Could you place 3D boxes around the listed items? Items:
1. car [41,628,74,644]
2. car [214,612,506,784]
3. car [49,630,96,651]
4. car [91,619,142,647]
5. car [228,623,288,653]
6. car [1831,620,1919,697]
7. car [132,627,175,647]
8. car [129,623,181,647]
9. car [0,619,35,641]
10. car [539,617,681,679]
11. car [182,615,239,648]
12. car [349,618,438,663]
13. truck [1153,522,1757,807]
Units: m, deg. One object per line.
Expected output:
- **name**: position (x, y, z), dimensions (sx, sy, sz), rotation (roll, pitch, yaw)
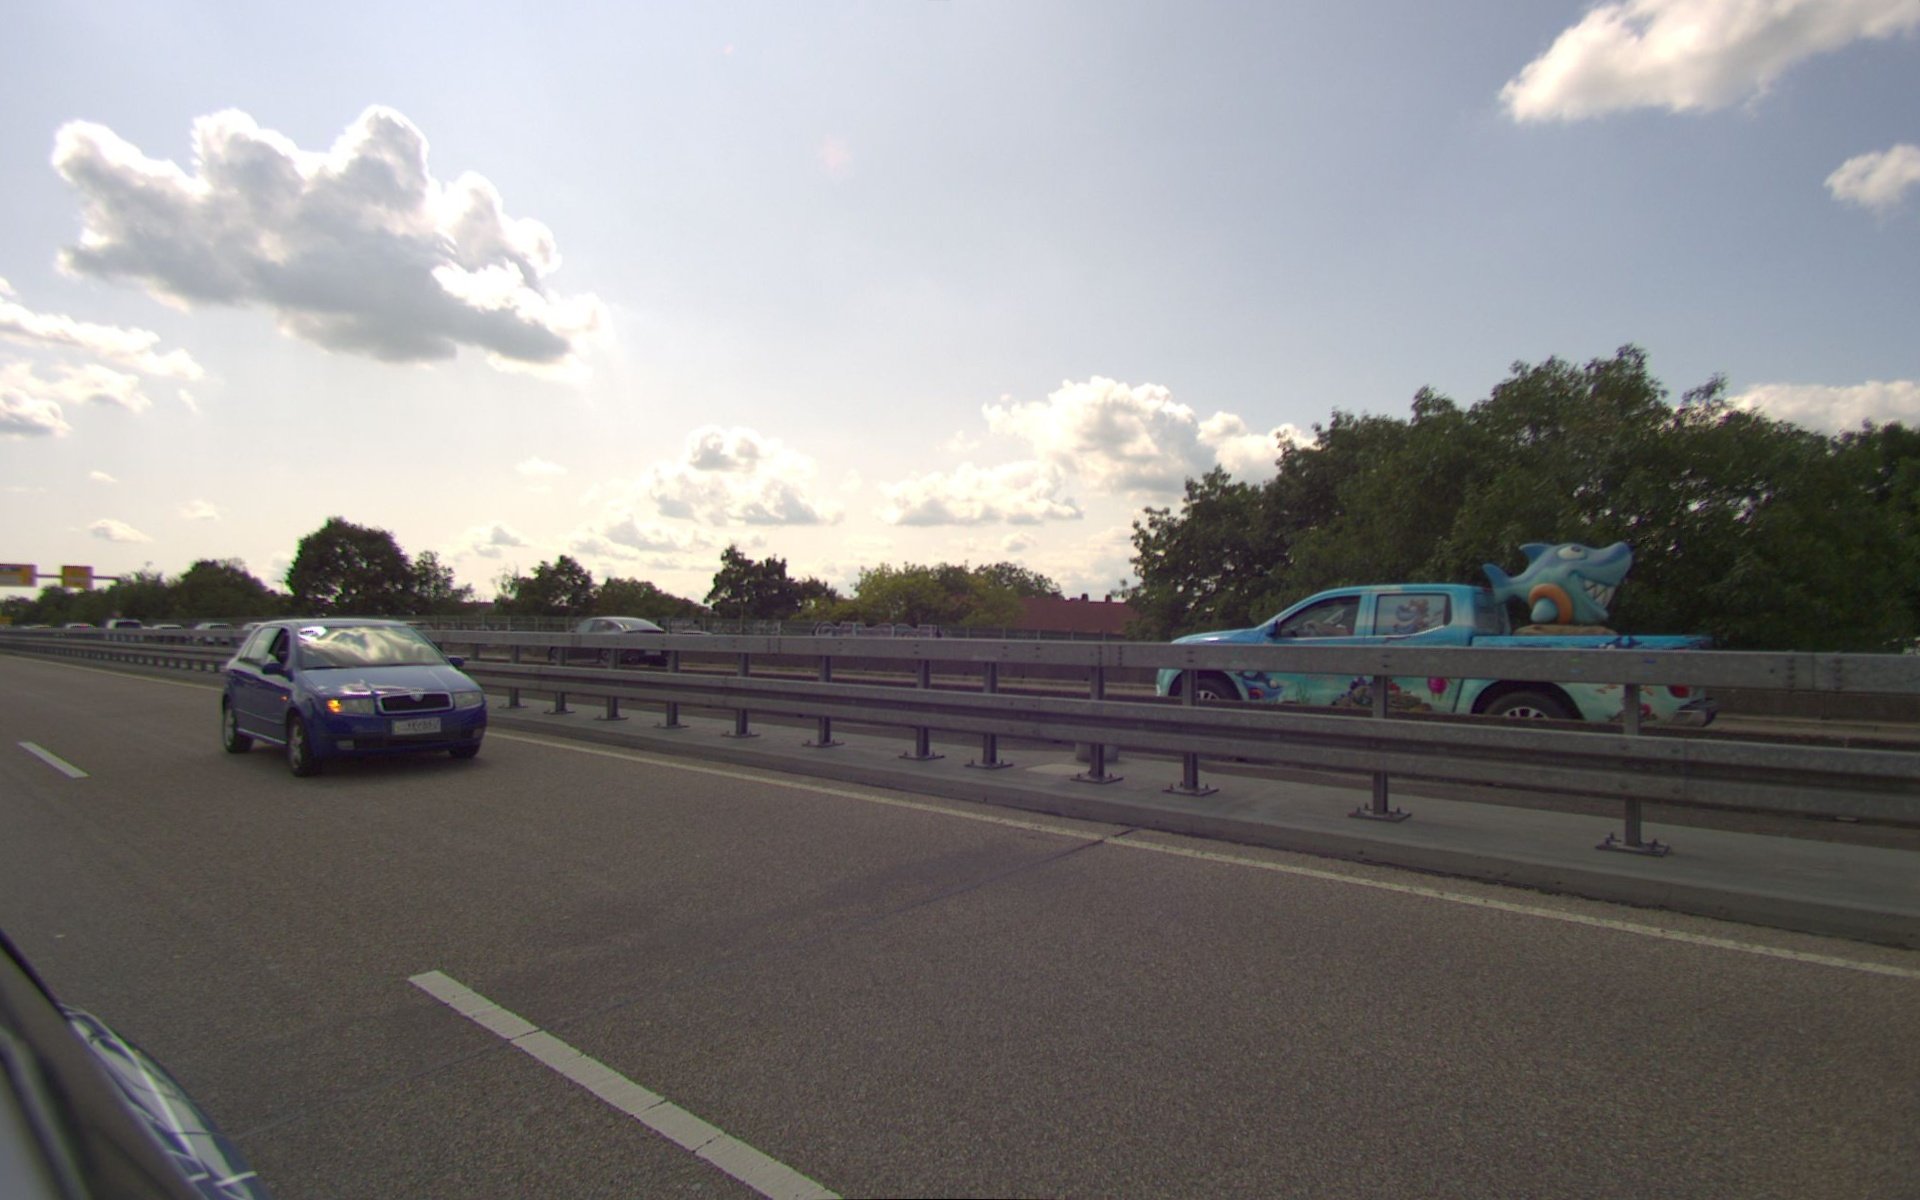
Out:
- **car**: position (-89.881, 3.557, 100.779), dimensions (4.279, 1.586, 1.904), rotation (-2, -2, 40)
- **car**: position (-6.287, 0.863, 10.425), dimensions (3.771, 1.422, 1.603), rotation (-1, 0, 43)
- **car**: position (-55.154, 2.490, 62.855), dimensions (3.998, 1.194, 1.664), rotation (-1, 0, 41)
- **car**: position (-62.629, 2.430, 75.110), dimensions (5.185, 1.940, 1.941), rotation (-2, 0, 39)
- **car**: position (-36.167, 1.954, 52.119), dimensions (3.627, 1.486, 1.582), rotation (-1, -4, 39)
- **car**: position (25.916, 1.537, 26.199), dimensions (1.970, 1.912, 5.172), rotation (-1, 0, -4)
- **car**: position (-65.588, 3.017, 82.275), dimensions (4.279, 1.586, 1.904), rotation (-2, -1, 40)
- **car**: position (-51.075, 2.222, 64.203), dimensions (4.043, 1.400, 1.767), rotation (-3, -1, 39)
- **car**: position (-73.305, 2.317, 78.572), dimensions (4.056, 1.583, 1.659), rotation (-1, 0, 39)
- **car**: position (-10.394, 1.359, 29.873), dimensions (4.508, 1.652, 1.872), rotation (-1, 0, 39)
- **car**: position (-42.935, 1.816, 57.948), dimensions (4.406, 1.724, 1.566), rotation (-3, -1, 39)
- **car**: position (-22.212, 1.546, 39.643), dimensions (3.998, 1.651, 1.803), rotation (-1, 0, 41)
- **truck**: position (4.702, 0.526, 10.267), dimensions (5.187, 2.203, 1.853), rotation (-1, 0, 43)
